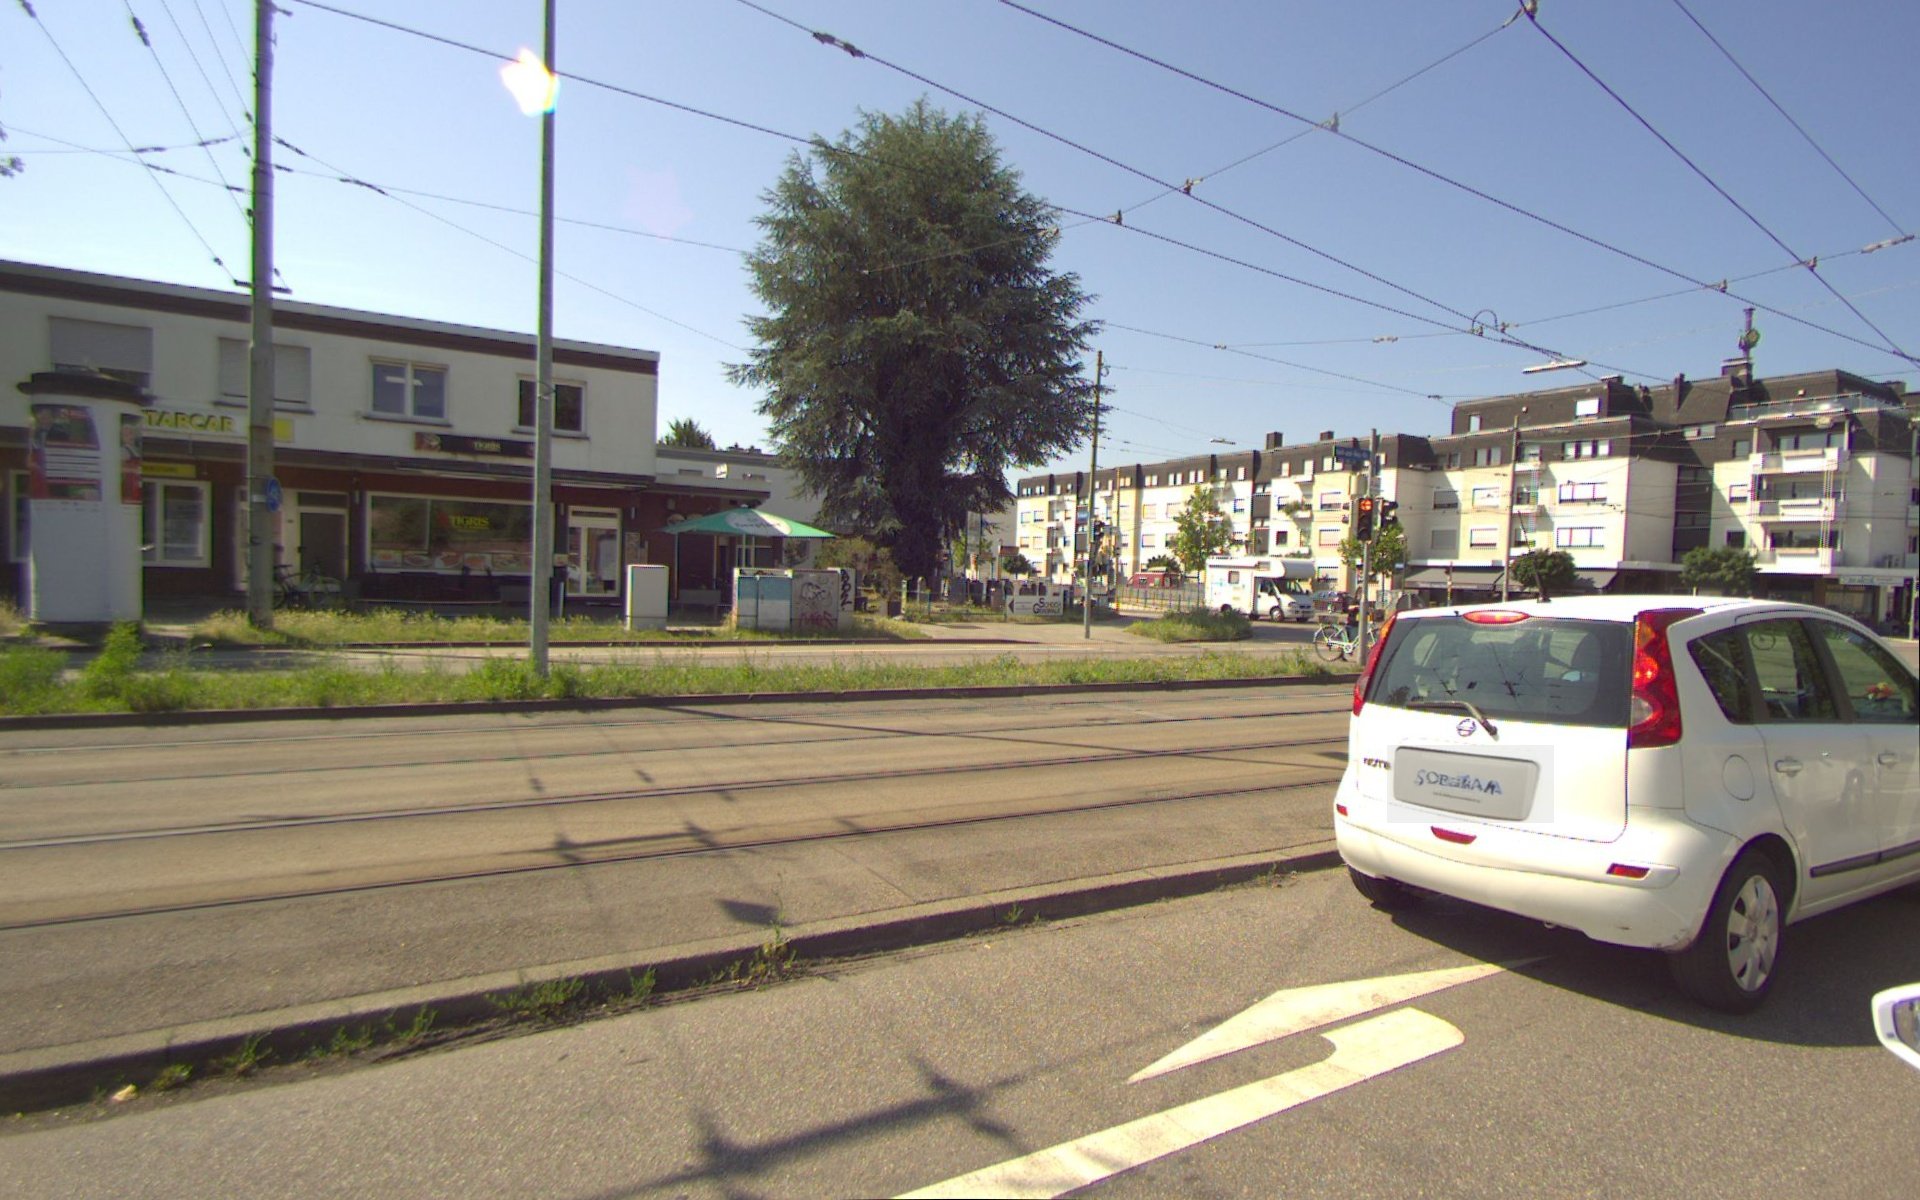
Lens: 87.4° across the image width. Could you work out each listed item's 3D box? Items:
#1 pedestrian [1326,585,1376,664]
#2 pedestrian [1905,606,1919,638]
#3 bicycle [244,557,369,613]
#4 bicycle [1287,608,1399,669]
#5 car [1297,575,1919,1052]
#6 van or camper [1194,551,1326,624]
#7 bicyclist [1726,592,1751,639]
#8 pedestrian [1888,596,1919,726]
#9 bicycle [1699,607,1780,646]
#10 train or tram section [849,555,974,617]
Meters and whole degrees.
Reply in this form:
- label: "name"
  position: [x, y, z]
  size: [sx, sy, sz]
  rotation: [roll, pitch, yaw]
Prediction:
- label: "pedestrian"
  position: [8.088, 0.500, 20.775]
  size: [0.671, 1.592, 0.738]
  rotation: [1, 0, -44]
- label: "pedestrian"
  position: [53.895, 1.240, 56.359]
  size: [0.959, 1.766, 0.861]
  rotation: [2, -1, -18]
- label: "bicycle"
  position: [-14.735, -0.318, 22.737]
  size: [2.306, 1.167, 0.783]
  rotation: [1, 0, -30]
- label: "bicycle"
  position: [7.792, 0.751, 20.481]
  size: [0.705, 1.105, 1.999]
  rotation: [0, 2, -44]
- label: "car"
  position: [3.620, 0.713, 5.008]
  size: [3.759, 1.587, 1.634]
  rotation: [0, 0, -31]
- label: "van or camper"
  position: [14.026, -0.540, 47.317]
  size: [2.548, 3.133, 5.651]
  rotation: [2, -1, -33]
- label: "bicyclist"
  position: [27.868, 0.561, 35.979]
  size: [0.627, 1.634, 0.561]
  rotation: [1, -1, 33]
- label: "pedestrian"
  position: [12.853, 0.803, 13.106]
  size: [0.959, 1.673, 0.953]
  rotation: [1, -1, 36]
- label: "bicycle"
  position: [27.880, 0.939, 35.964]
  size: [2.211, 1.314, 0.558]
  rotation: [1, -1, 33]
- label: "train or tram section"
  position: [-4.917, -1.222, 94.195]
  size: [4.681, 5.217, 16.122]
  rotation: [2, -1, -30]
